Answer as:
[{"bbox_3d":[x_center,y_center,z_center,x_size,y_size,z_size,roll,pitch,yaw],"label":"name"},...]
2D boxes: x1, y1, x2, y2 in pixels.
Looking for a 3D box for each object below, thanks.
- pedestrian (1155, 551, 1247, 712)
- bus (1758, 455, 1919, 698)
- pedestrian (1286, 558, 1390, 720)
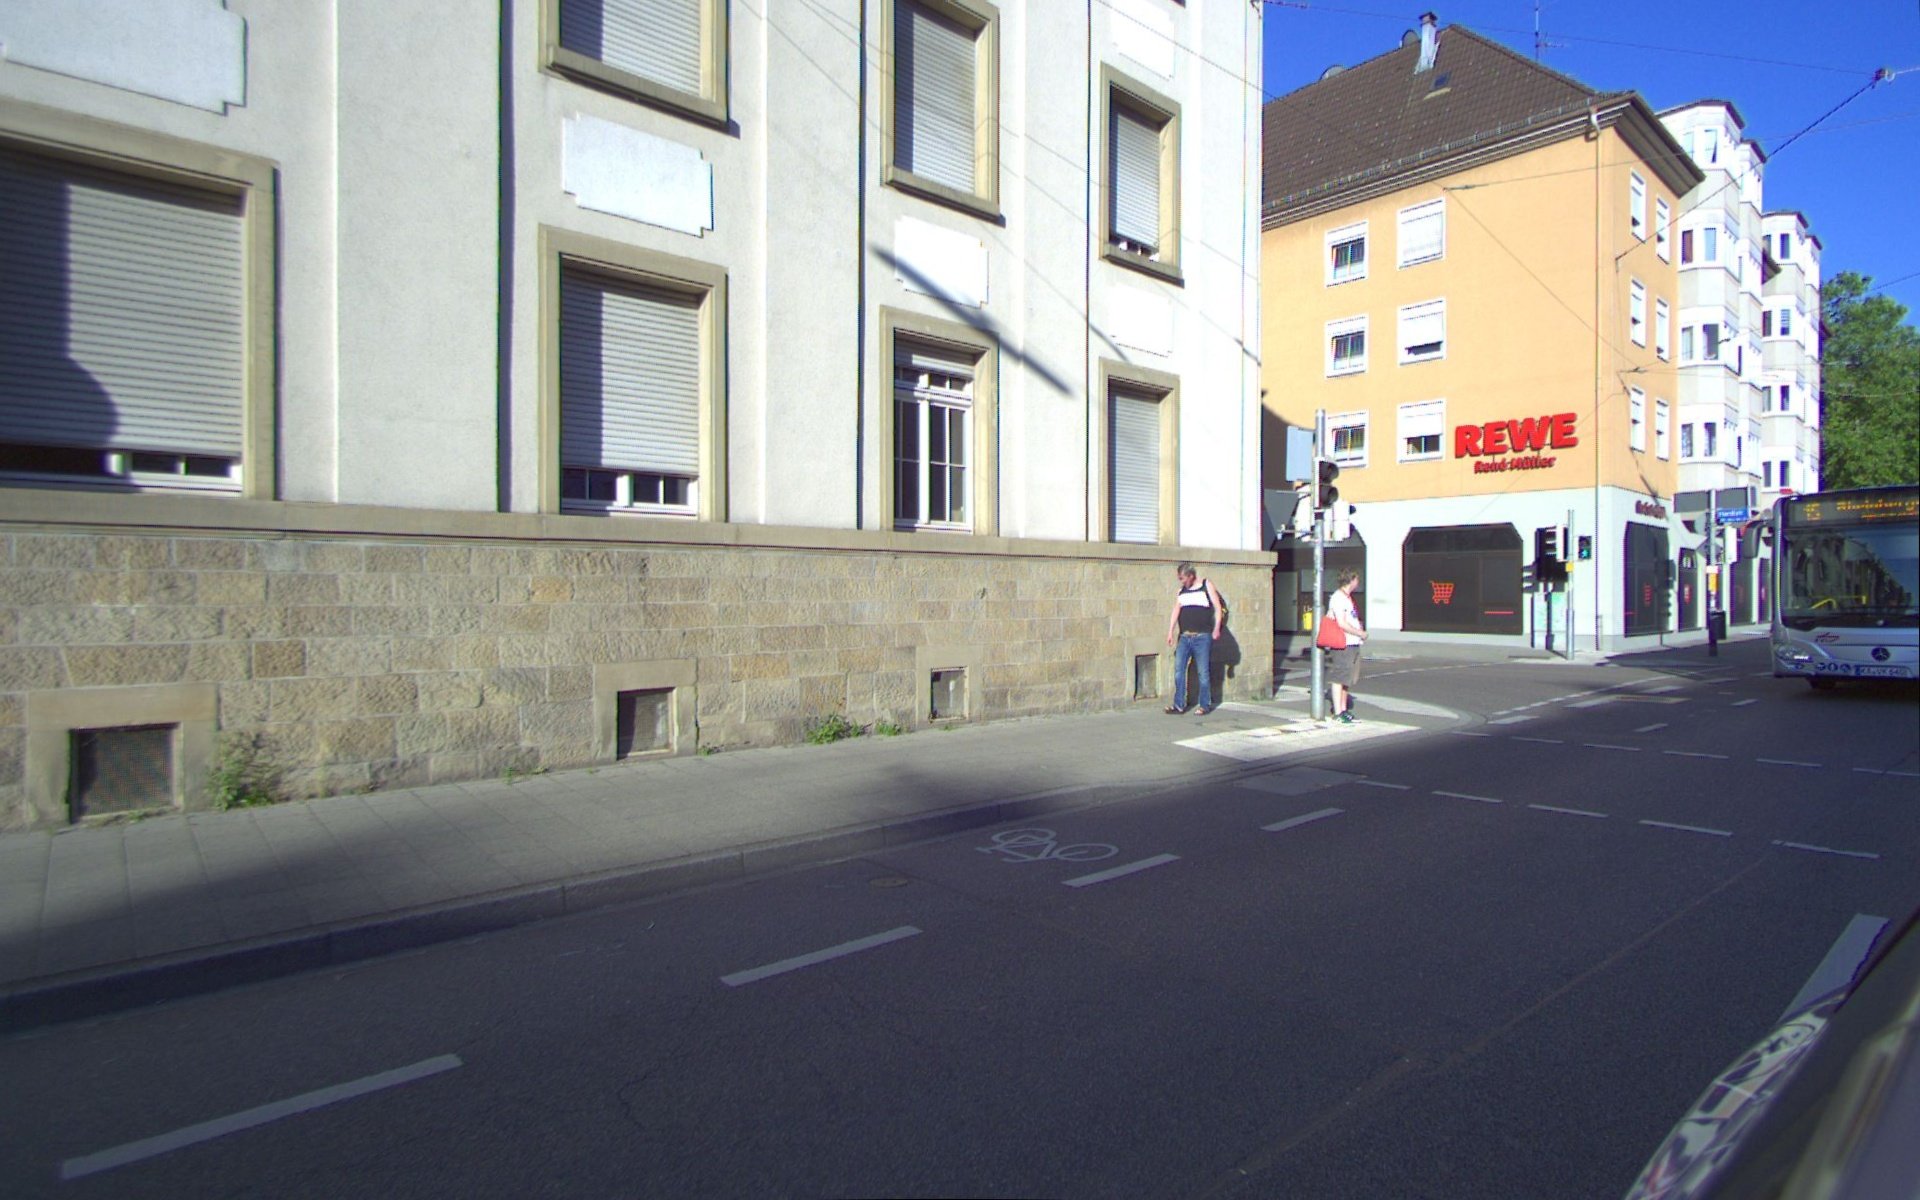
[{"bbox_3d":[2.780,0.341,11.685,0.811,1.780,0.630,-1,-1,-41],"label":"pedestrian"},{"bbox_3d":[19.080,-0.459,19.143,17.428,3.190,2.771,-1,0,-40],"label":"bus"},{"bbox_3d":[4.397,0.420,11.769,0.809,1.784,0.837,-1,1,-40],"label":"pedestrian"}]
